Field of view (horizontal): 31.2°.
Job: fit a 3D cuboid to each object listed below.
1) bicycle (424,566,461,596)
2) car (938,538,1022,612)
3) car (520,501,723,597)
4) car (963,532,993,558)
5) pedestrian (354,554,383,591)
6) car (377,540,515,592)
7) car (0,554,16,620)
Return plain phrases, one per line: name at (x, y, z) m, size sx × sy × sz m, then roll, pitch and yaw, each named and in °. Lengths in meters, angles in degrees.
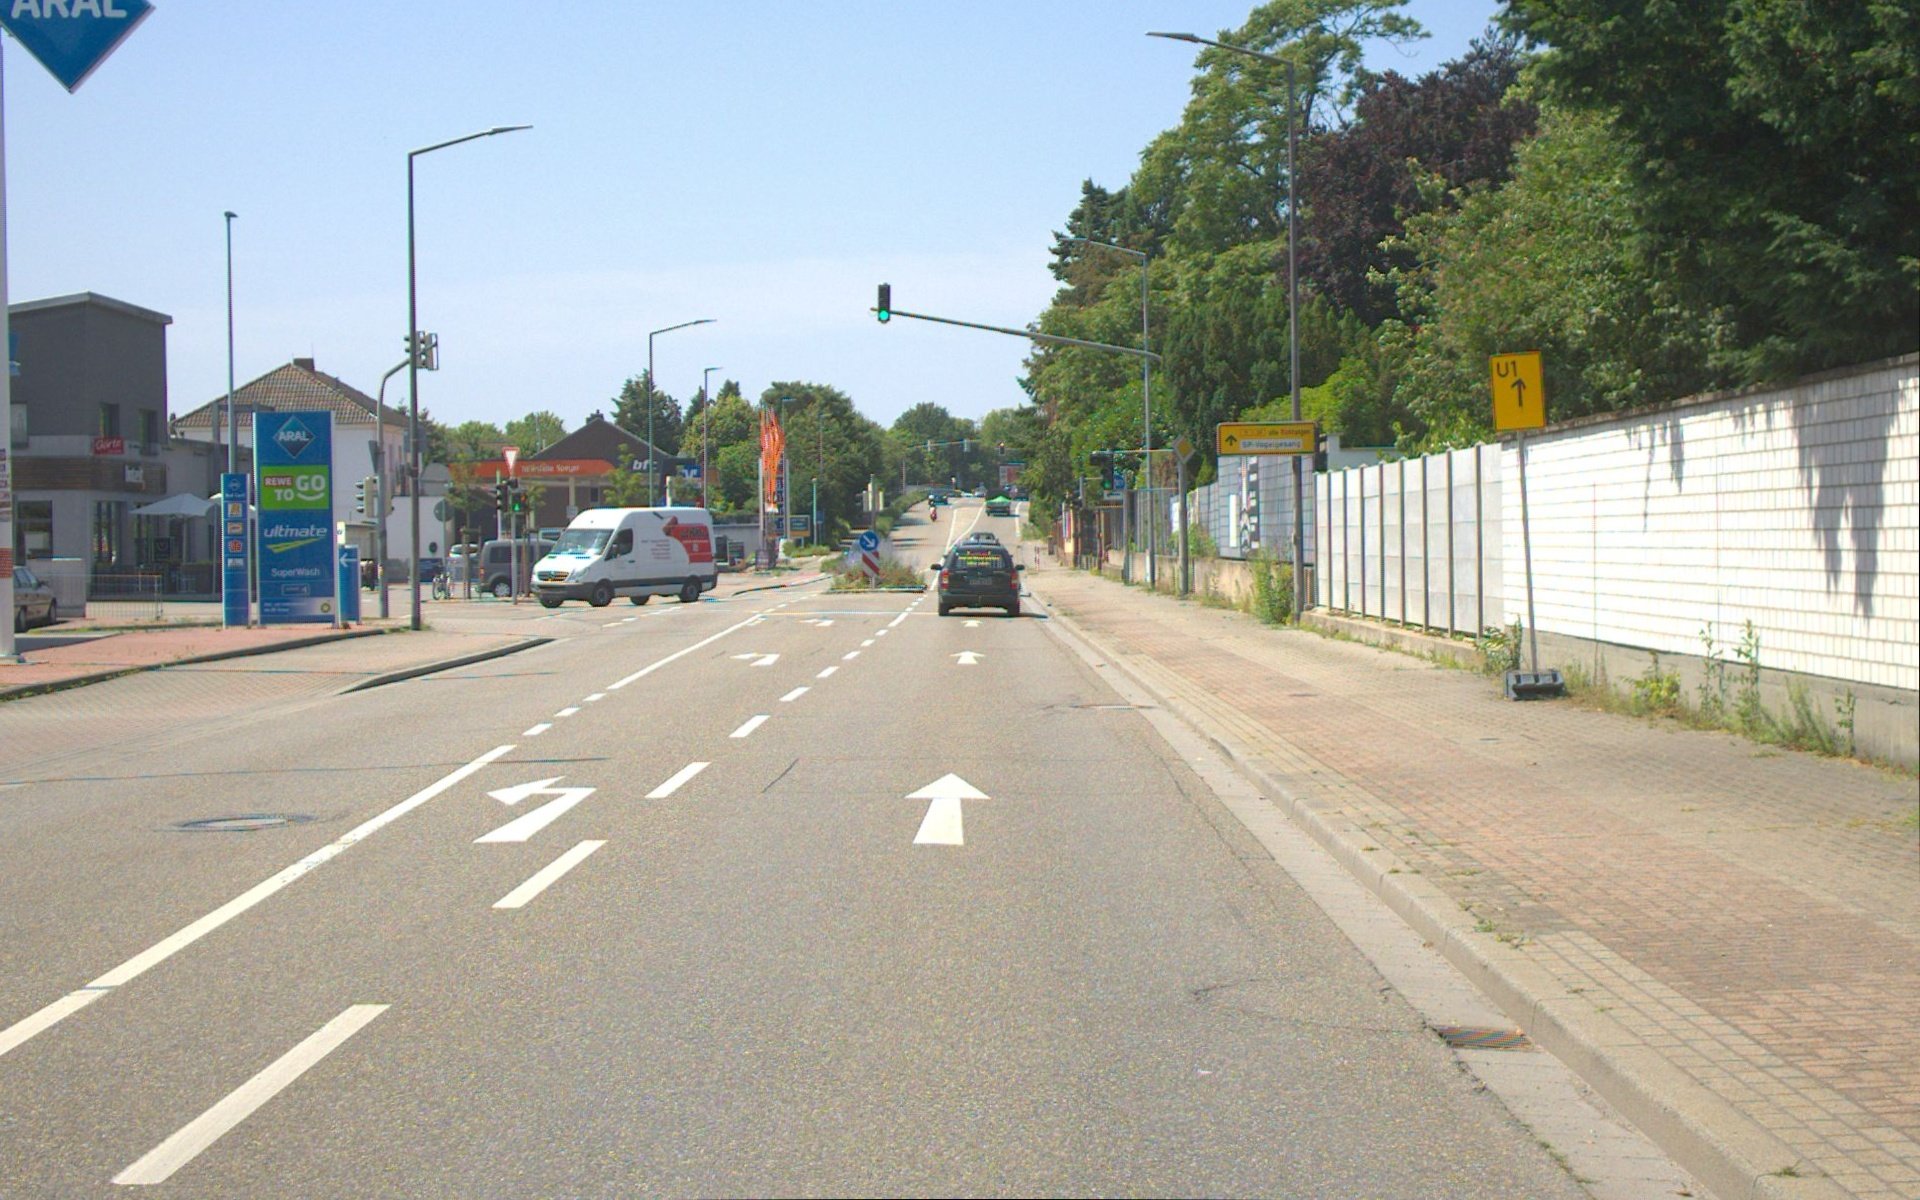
bicycle at (-14.374, -0.536, 95.545) m, size 0.612 × 0.790 × 2.575 m, roll -1°, pitch 1°, yaw 0°
car at (0.401, -0.532, 70.810) m, size 1.665 × 1.450 × 3.472 m, roll -1°, pitch 1°, yaw 0°
car at (-8.961, -1.327, 91.604) m, size 1.997 × 2.414 × 5.935 m, roll 1°, pitch 0°, yaw 35°
car at (1.046, -3.198, 199.537) m, size 1.665 × 1.450 × 3.472 m, roll -1°, pitch 1°, yaw 0°
pedestrian at (-20.346, -0.947, 118.253) m, size 0.613 × 1.256 × 0.755 m, roll 0°, pitch 1°, yaw 27°
car at (-15.610, -1.038, 104.483) m, size 3.986 × 1.503 × 1.555 m, roll -1°, pitch 1°, yaw -3°
car at (-21.578, -0.235, 74.091) m, size 1.617 × 1.415 × 3.712 m, roll -2°, pitch 1°, yaw -4°
